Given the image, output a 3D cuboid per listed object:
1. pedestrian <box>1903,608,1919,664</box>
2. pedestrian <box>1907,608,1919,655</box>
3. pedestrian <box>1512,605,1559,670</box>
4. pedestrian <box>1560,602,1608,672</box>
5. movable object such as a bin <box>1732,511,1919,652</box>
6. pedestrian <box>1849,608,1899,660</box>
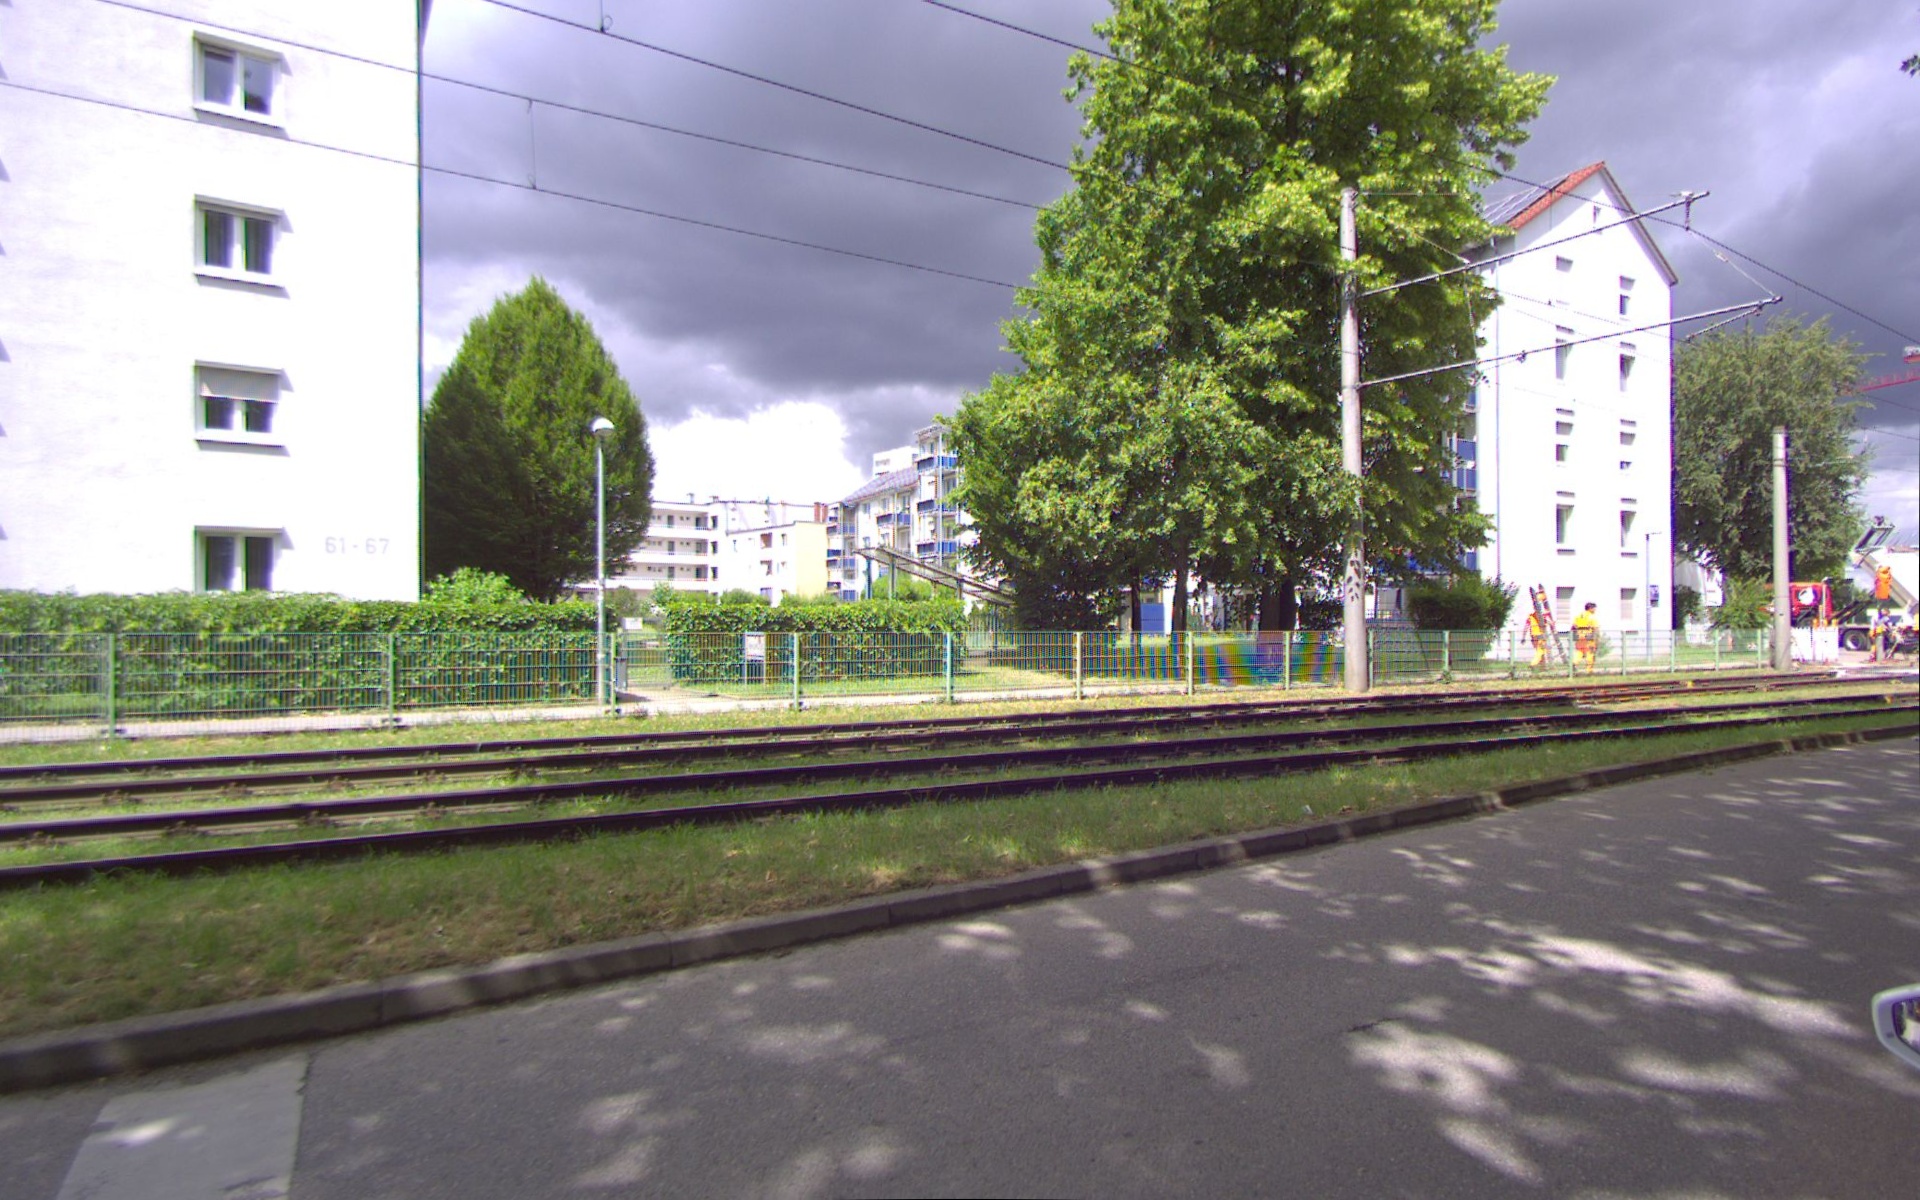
[{"bbox_3d":[30.445,1.131,31.402,1.088,1.738,0.888,1,0,16],"label":"pedestrian"},{"bbox_3d":[34.638,1.147,36.036,0.892,1.667,0.878,1,0,-40],"label":"pedestrian"},{"bbox_3d":[14.887,0.961,25.977,0.857,1.647,0.728,1,-1,-30],"label":"pedestrian"},{"bbox_3d":[15.758,0.920,25.380,0.857,1.741,0.696,1,0,-30],"label":"pedestrian"},{"bbox_3d":[38.194,-0.660,43.095,2.612,5.486,9.228,1,-1,-3],"label":"movable object such as a bin"},{"bbox_3d":[29.944,1.115,32.910,0.870,1.667,0.837,1,0,2],"label":"pedestrian"}]
